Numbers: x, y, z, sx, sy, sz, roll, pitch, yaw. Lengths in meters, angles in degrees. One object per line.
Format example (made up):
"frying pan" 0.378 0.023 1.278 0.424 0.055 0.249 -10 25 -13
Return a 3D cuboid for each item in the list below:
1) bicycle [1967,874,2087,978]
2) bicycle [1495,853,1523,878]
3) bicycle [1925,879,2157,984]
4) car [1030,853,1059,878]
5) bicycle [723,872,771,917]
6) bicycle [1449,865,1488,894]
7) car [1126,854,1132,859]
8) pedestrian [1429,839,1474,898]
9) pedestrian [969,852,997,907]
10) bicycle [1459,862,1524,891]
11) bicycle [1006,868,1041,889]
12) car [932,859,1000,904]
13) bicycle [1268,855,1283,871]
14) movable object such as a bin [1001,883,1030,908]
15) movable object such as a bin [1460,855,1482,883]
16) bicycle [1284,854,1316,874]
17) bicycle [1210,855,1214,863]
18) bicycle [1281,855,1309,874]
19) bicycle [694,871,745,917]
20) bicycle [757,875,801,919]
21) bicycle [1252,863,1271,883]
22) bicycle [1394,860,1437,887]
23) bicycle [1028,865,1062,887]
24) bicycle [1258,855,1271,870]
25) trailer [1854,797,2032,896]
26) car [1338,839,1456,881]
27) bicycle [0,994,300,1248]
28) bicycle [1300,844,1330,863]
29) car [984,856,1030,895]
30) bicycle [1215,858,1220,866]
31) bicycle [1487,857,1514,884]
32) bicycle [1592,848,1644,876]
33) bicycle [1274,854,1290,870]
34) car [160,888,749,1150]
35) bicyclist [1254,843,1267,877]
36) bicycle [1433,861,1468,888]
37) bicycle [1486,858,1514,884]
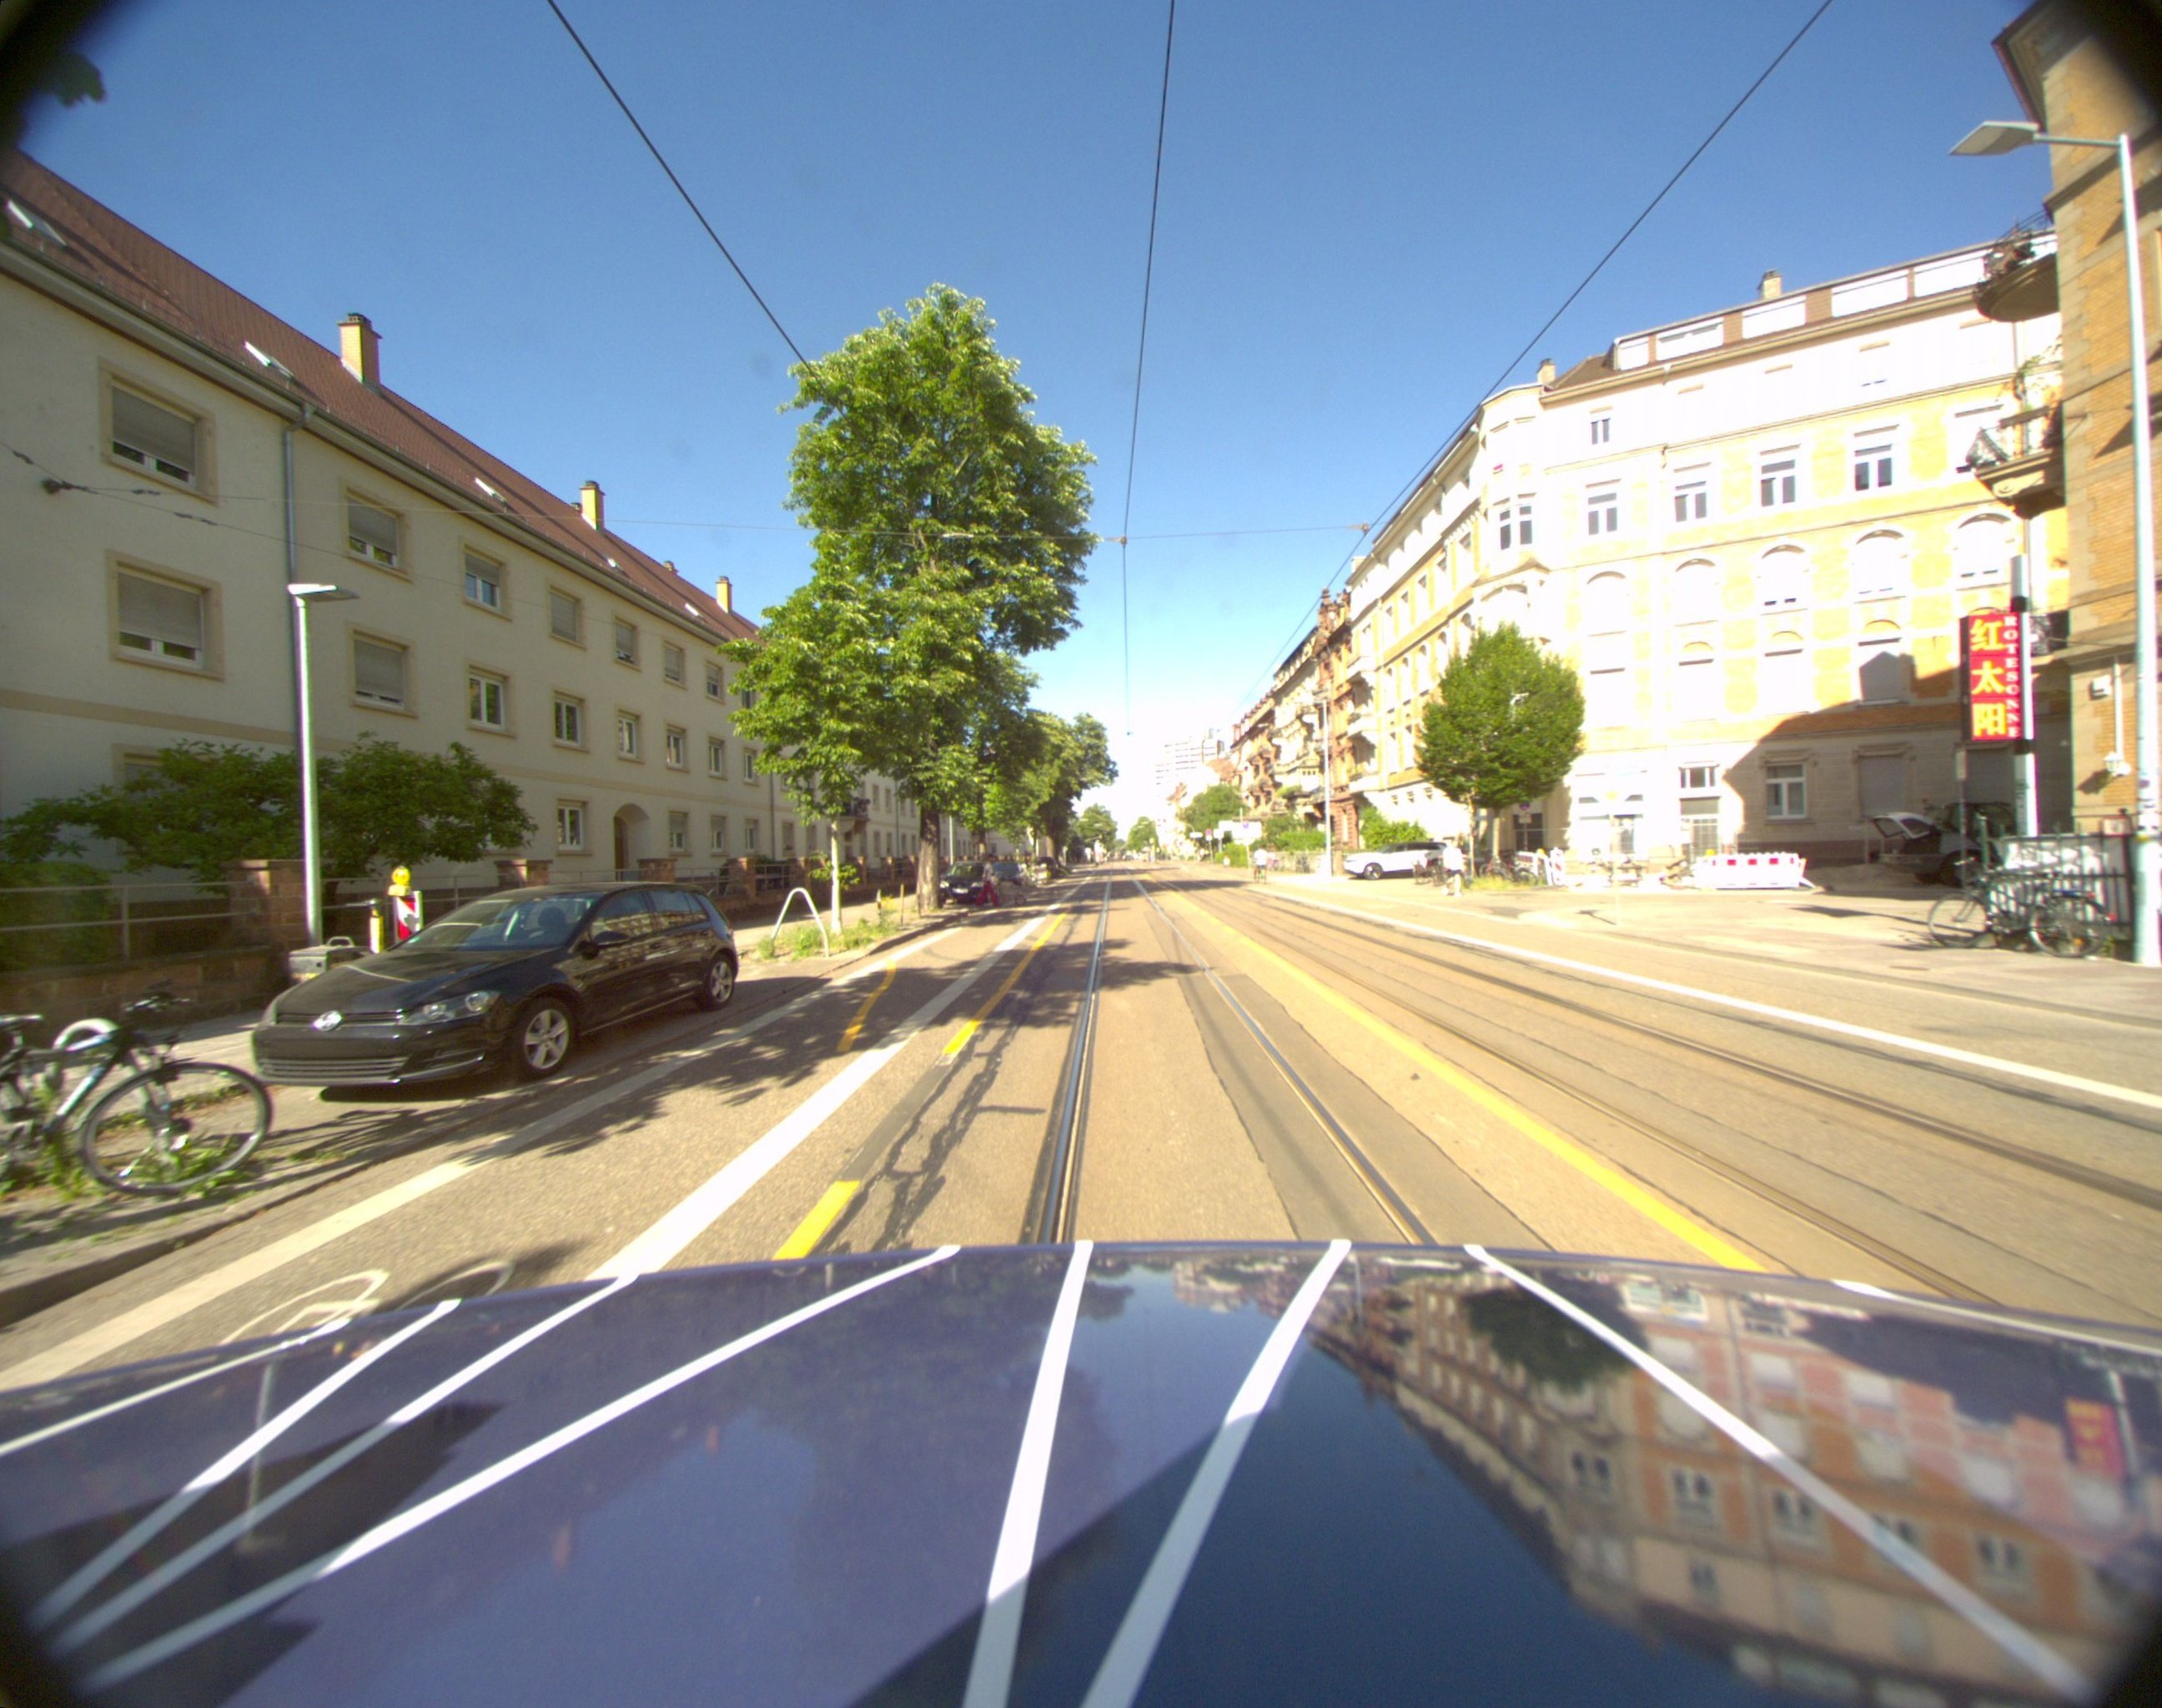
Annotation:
"bicycle" 11.005 0.812 8.864 0.371 1.119 0.809 -3 0 3
"bicycle" 16.791 0.434 29.777 1.545 0.909 0.246 -3 2 -33
"bicycle" 10.838 0.825 8.690 0.336 0.995 1.870 -3 0 3
"car" -2.675 0.816 56.566 1.748 1.755 4.478 -3 0 2
"bicycle" -9.644 1.152 22.020 0.544 1.213 1.742 -1 0 2
"bicycle" 13.358 0.878 26.186 1.297 0.909 0.619 -3 2 -33
"car" 15.130 0.752 240.283 1.902 1.608 4.265 0 0 1
"pedestrian" 11.322 0.416 23.245 0.831 1.714 1.082 -3 1 4
"pedestrian" -3.167 0.809 24.577 0.602 1.760 0.911 1 0 -28
"bicycle" 14.429 0.769 26.754 0.581 0.970 1.983 -3 1 -32
"bicycle" -3.133 1.341 41.370 1.765 1.071 0.433 -3 0 4
"car" -4.078 0.943 27.530 1.724 1.465 4.246 0 0 1
"bicycle" 12.973 0.567 50.729 0.564 1.027 1.768 -3 0 2
"movable object such as a bin" -2.117 1.341 24.596 0.923 0.739 0.667 2 1 -5
"movable object such as a bin" 15.414 0.584 30.035 0.577 1.064 0.717 -3 0 16
"bicycle" 12.434 0.586 43.206 0.566 1.027 1.763 -3 -1 -34
"bicycle" 16.314 0.655 94.822 0.342 0.920 1.944 -3 0 7
"bicycle" 12.643 0.640 44.960 0.565 1.027 1.765 -6 0 -22
"bicycle" -10.268 1.105 21.652 0.544 1.213 1.742 -1 0 2
"bicycle" -8.979 1.251 22.636 0.544 1.213 1.742 -1 0 2
"bicycle" 8.556 0.891 36.110 0.461 0.920 2.203 0 0 3
"bicycle" 13.047 0.746 29.602 1.791 0.909 0.619 -3 2 -33
"bicycle" -1.921 1.188 40.782 1.765 1.071 0.433 -3 0 4
"bicycle" 13.206 0.589 54.623 0.564 1.027 1.768 -3 -1 3
"trailer" 24.988 -0.223 22.180 2.921 2.680 1.831 0 2 26
"car" 14.218 0.243 34.400 4.455 1.634 1.967 -3 1 5
"bicycle" -5.167 1.292 3.815 1.797 1.061 0.621 0 0 -2
"bicycle" 15.890 -0.054 51.544 1.766 1.148 0.565 -5 0 2
"car" -3.561 1.009 37.106 1.669 1.750 4.231 -2 0 2
"bicycle" 15.779 0.952 87.894 0.342 0.920 1.944 -3 0 7
"bicycle" 15.488 0.602 28.030 0.619 0.909 1.297 0 2 41
"bicycle" 21.108 0.313 29.911 1.600 1.031 0.407 -3 -1 27
"bicycle" 12.870 0.501 48.713 0.564 1.027 1.768 -3 0 2
"car" -4.844 1.136 6.809 1.791 1.455 4.045 -1 0 2
"bicyclist" 8.560 0.290 36.179 0.465 1.609 0.744 1 1 3
"bicycle" 13.914 0.761 28.610 1.297 0.909 0.619 -3 2 -33
"bicycle" 16.618 0.663 30.123 1.545 0.909 0.246 -3 2 -33
